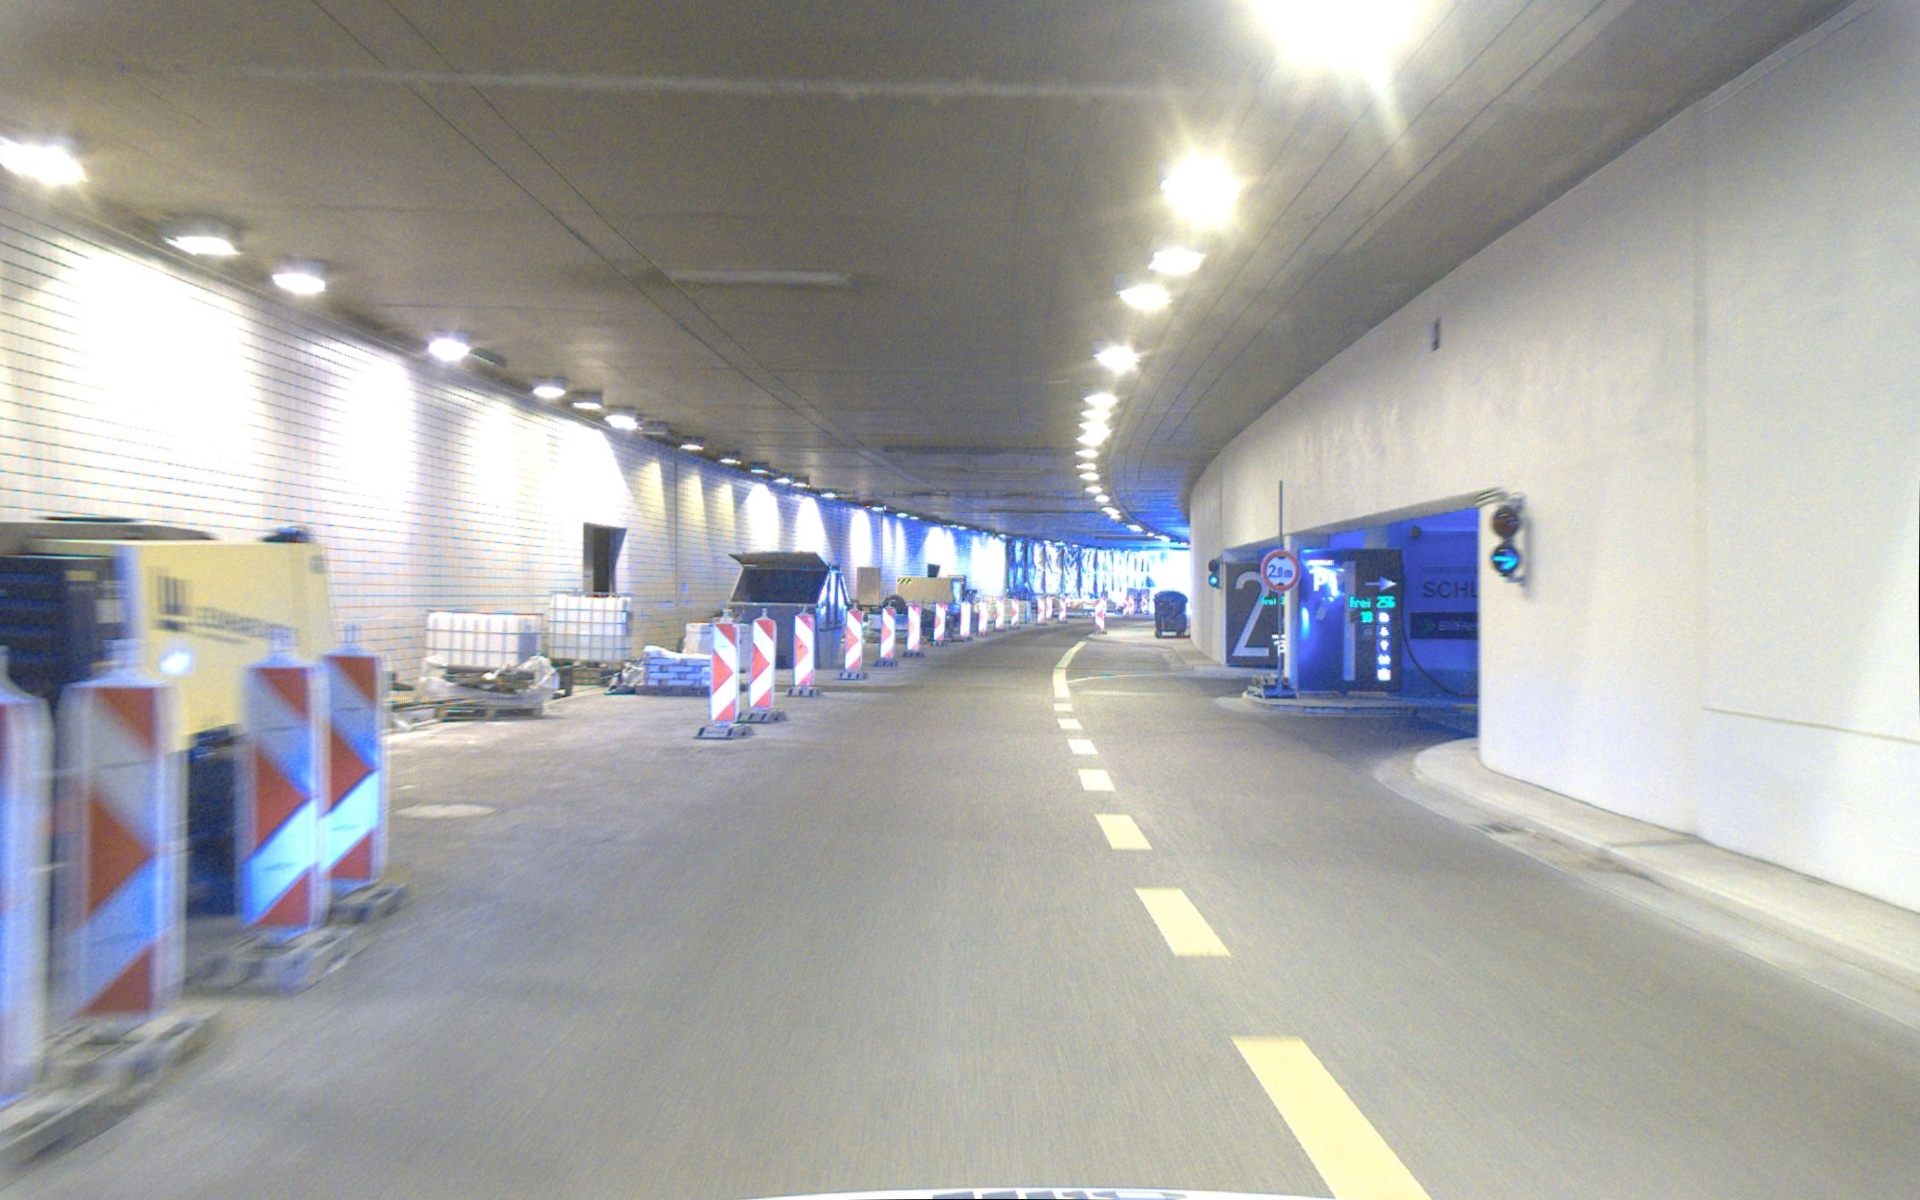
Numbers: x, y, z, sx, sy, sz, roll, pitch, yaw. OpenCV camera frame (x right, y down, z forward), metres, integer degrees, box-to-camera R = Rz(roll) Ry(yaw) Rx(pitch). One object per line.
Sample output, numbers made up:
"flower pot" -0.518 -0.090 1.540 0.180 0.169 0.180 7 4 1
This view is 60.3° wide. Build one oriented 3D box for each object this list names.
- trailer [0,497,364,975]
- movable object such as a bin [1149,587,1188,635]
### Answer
"trailer" -4.118 0.515 7.815 1.548 1.829 2.938 1 0 -1
"movable object such as a bin" 6.644 0.336 52.716 1.169 1.486 1.606 -2 0 7
